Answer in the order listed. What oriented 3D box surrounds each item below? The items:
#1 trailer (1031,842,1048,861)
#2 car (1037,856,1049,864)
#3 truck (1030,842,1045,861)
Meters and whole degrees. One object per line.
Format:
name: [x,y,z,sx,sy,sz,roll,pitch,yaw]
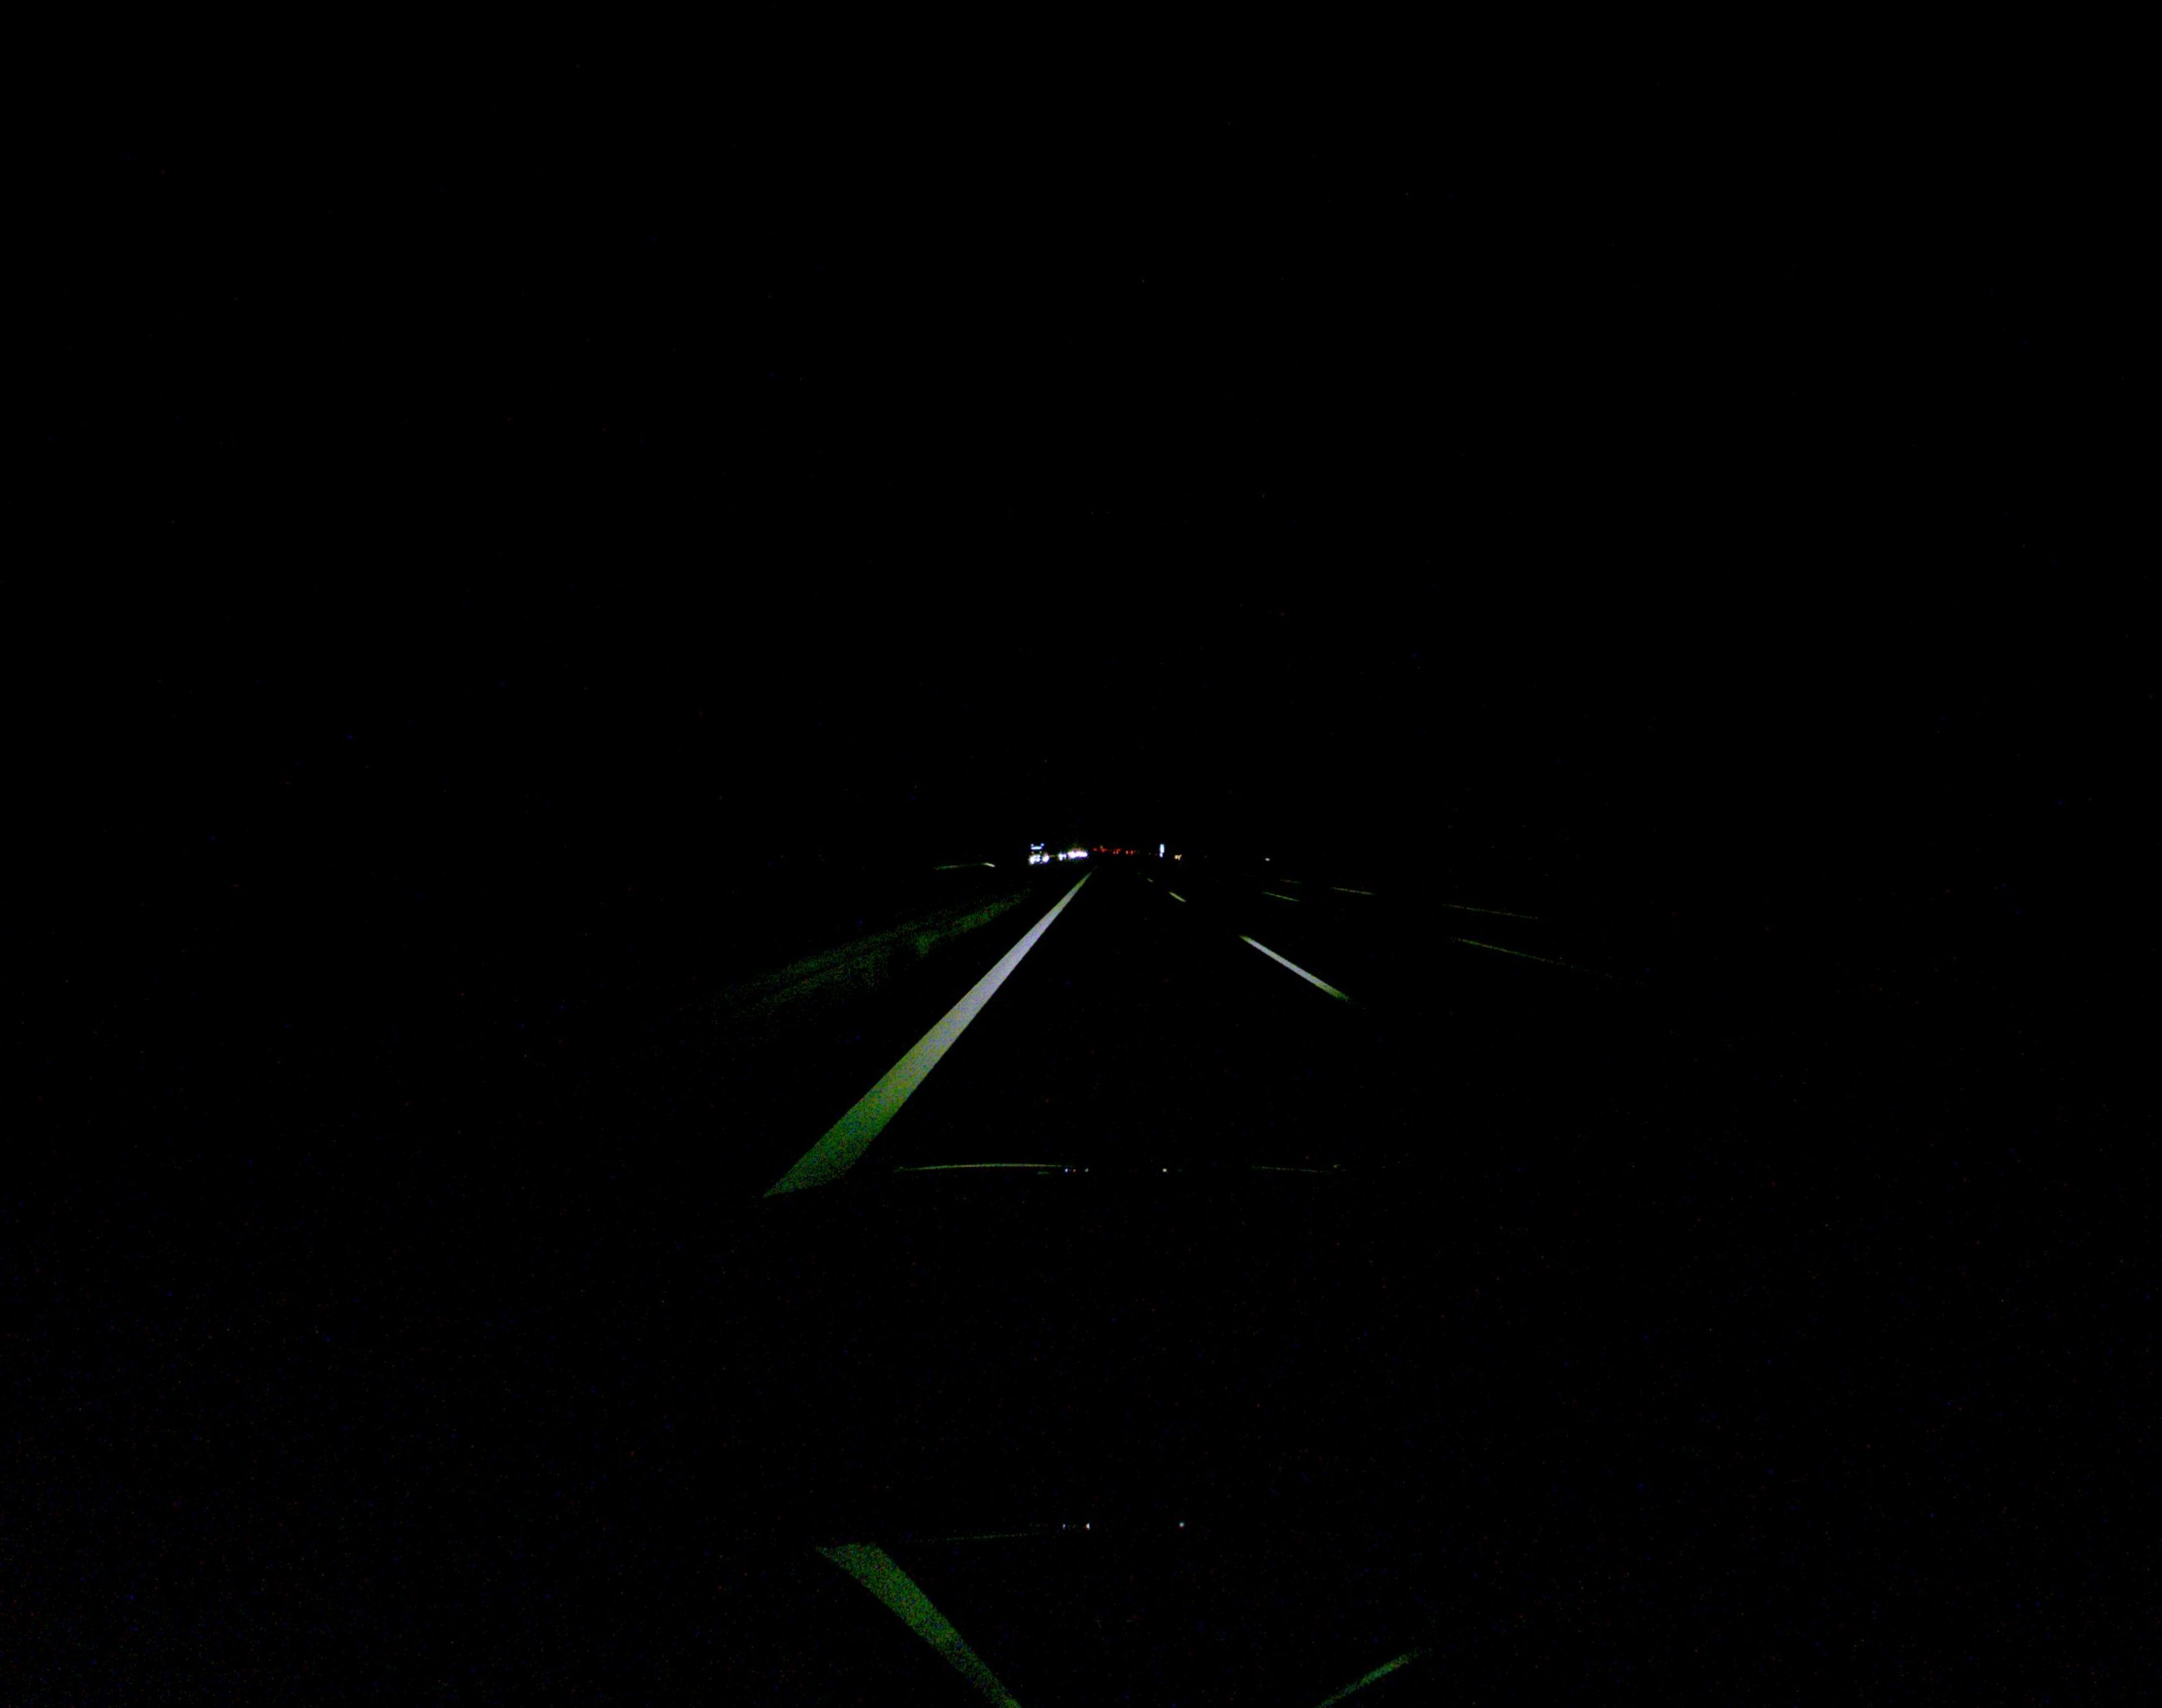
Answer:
trailer: [-9.744,-0.502,192.879,2.850,4.176,13.908,-3,0,1]
car: [-7.392,1.135,157.916,1.988,1.461,4.690,-3,0,-1]
truck: [-9.874,-0.479,185.939,2.744,4.212,5.827,-3,0,1]
